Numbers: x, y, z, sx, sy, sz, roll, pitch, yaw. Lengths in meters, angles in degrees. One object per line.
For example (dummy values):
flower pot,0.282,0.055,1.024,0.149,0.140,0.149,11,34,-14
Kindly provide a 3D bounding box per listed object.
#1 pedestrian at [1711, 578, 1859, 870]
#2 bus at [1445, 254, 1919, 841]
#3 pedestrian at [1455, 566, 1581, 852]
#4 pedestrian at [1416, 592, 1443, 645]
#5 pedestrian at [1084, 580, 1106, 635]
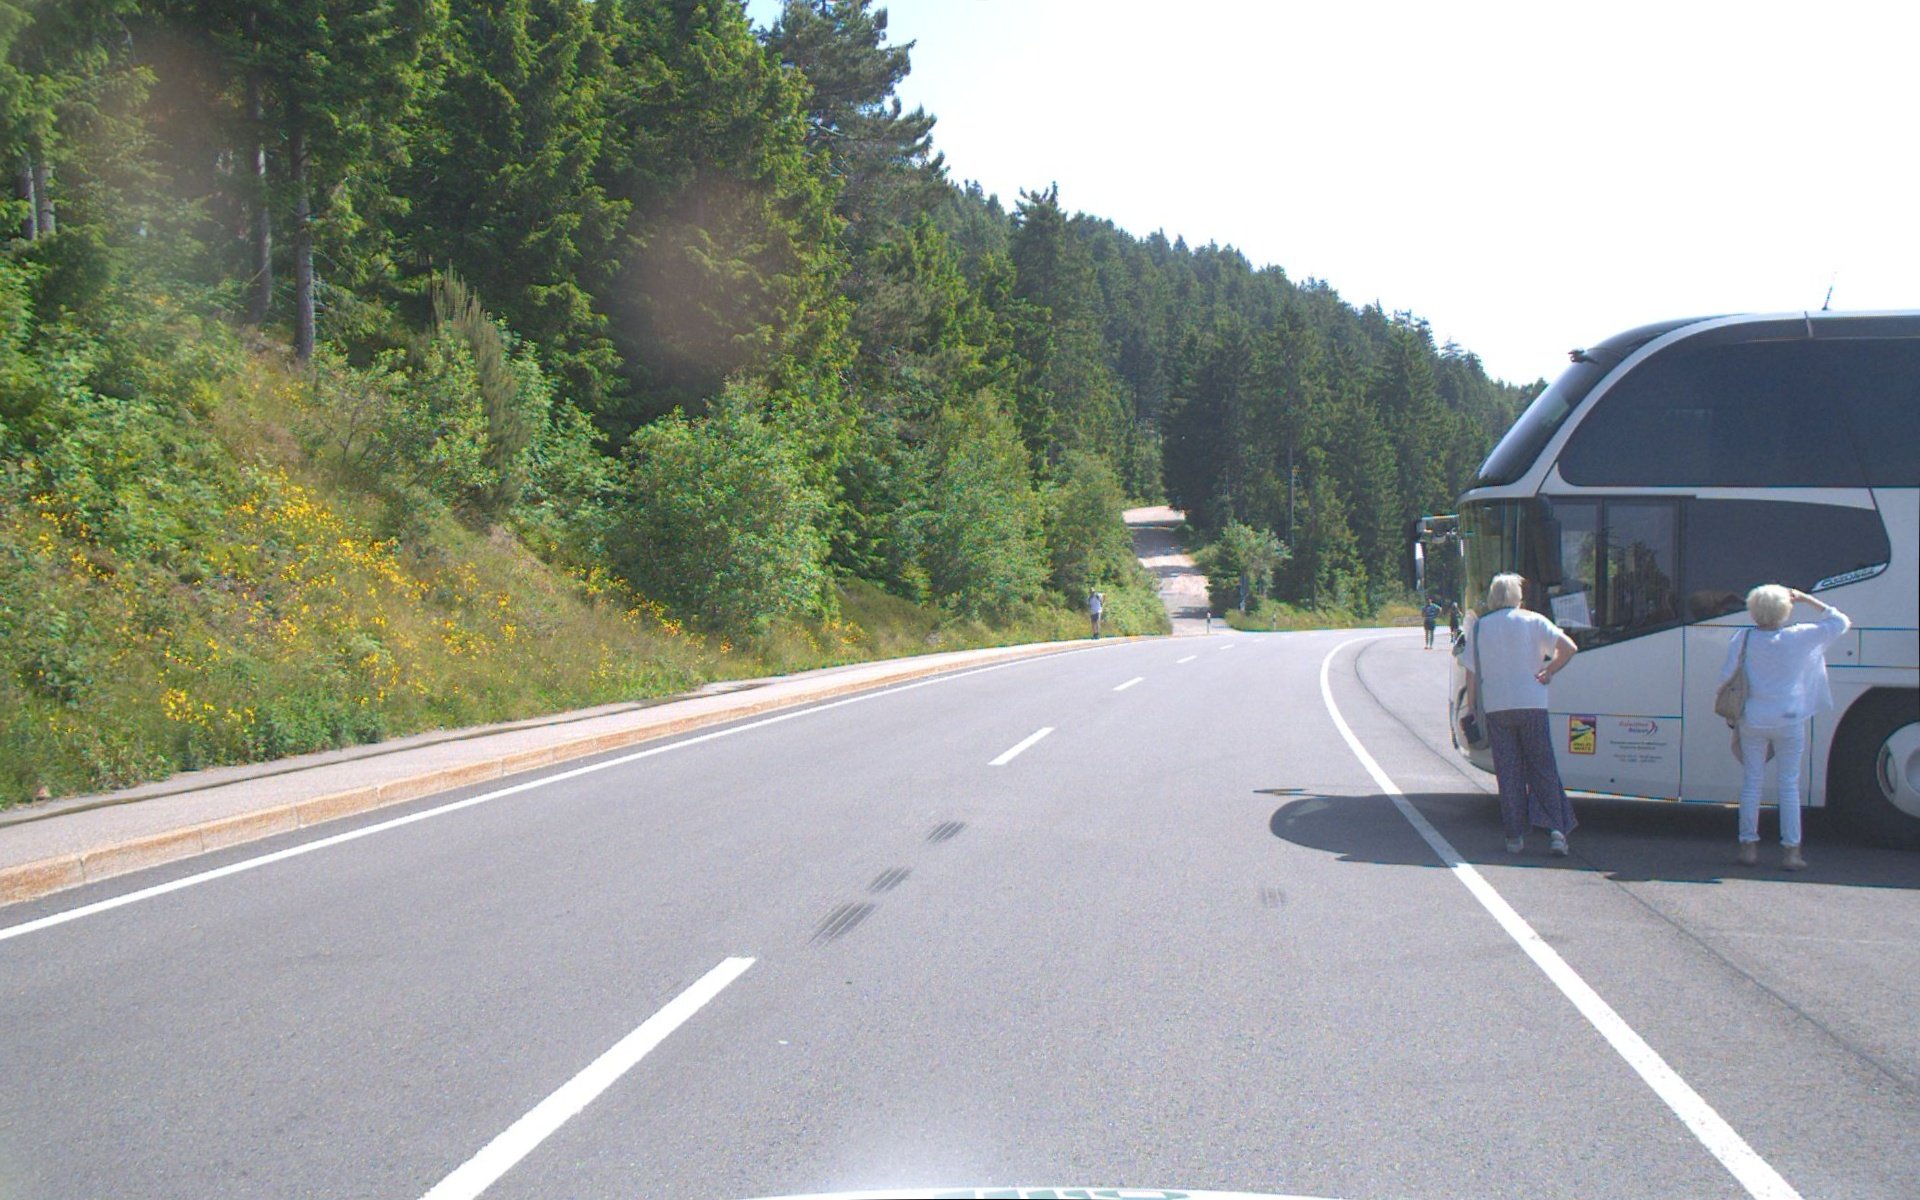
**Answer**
pedestrian,4.850,0.688,9.712,0.634,1.623,0.741,0,1,39
bus,9.763,-0.308,10.753,12.572,3.640,2.841,0,0,14
pedestrian,3.400,0.631,10.122,0.692,1.671,0.745,0,0,17
pedestrian,15.939,0.615,56.135,0.739,1.791,0.774,0,0,27
pedestrian,4.474,0.238,54.733,0.668,1.777,0.826,1,0,8
